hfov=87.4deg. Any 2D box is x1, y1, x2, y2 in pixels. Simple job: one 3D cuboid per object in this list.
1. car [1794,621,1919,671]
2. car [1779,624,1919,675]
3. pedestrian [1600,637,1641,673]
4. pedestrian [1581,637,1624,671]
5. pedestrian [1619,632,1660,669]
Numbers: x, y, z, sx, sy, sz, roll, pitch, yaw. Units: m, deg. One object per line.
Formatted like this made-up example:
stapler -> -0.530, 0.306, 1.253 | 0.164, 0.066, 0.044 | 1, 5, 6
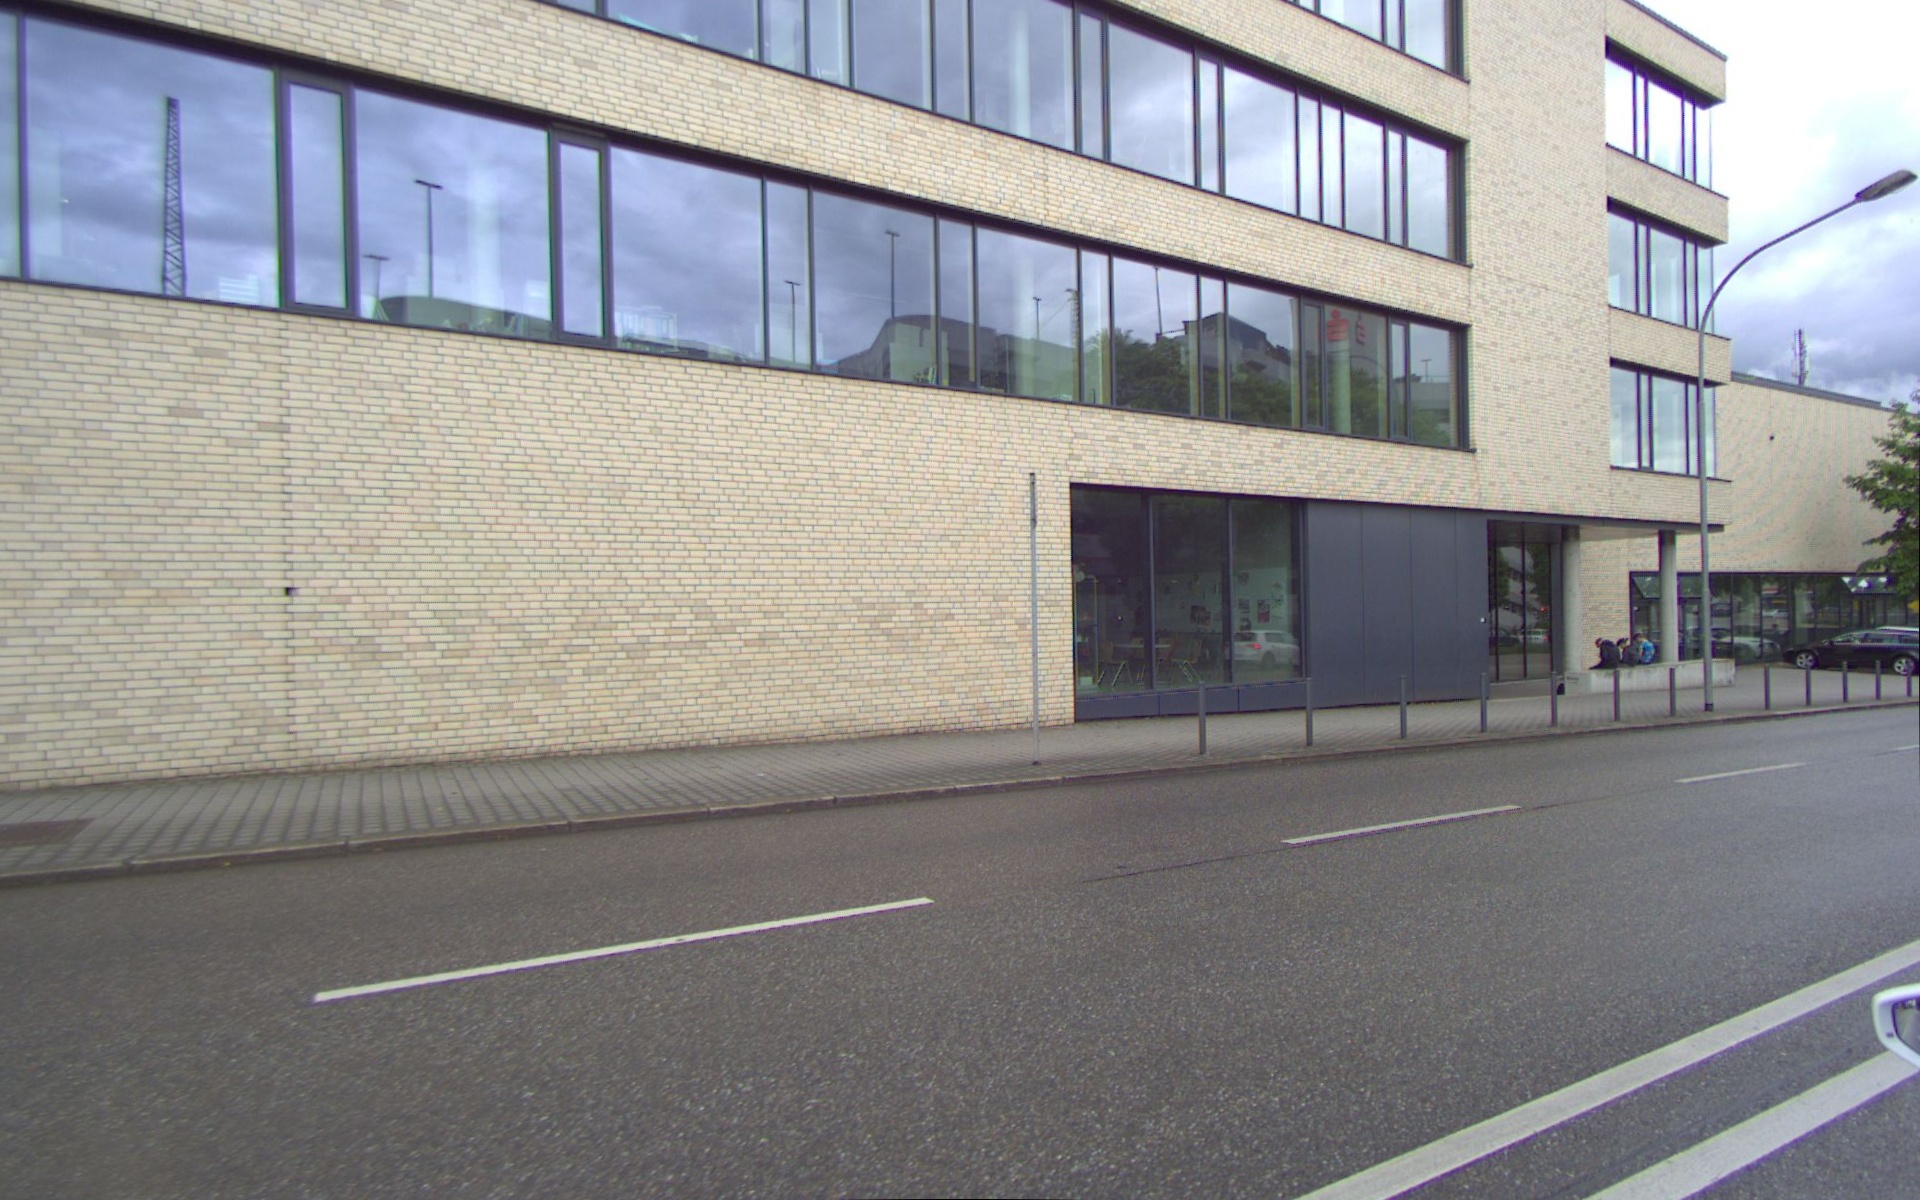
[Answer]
car -> 33.591, 1.664, 36.736 | 1.979, 1.595, 4.389 | -1, 1, -34
car -> 31.621, 1.696, 35.007 | 1.980, 1.608, 4.439 | 1, 0, -35
pedestrian -> 16.419, 1.372, 24.986 | 0.718, 0.856, 0.584 | 2, -1, -29
pedestrian -> 15.730, 1.325, 24.598 | 0.751, 0.796, 0.595 | 2, 0, -29
pedestrian -> 17.196, 1.275, 25.430 | 0.518, 0.897, 0.678 | 2, 0, -29
